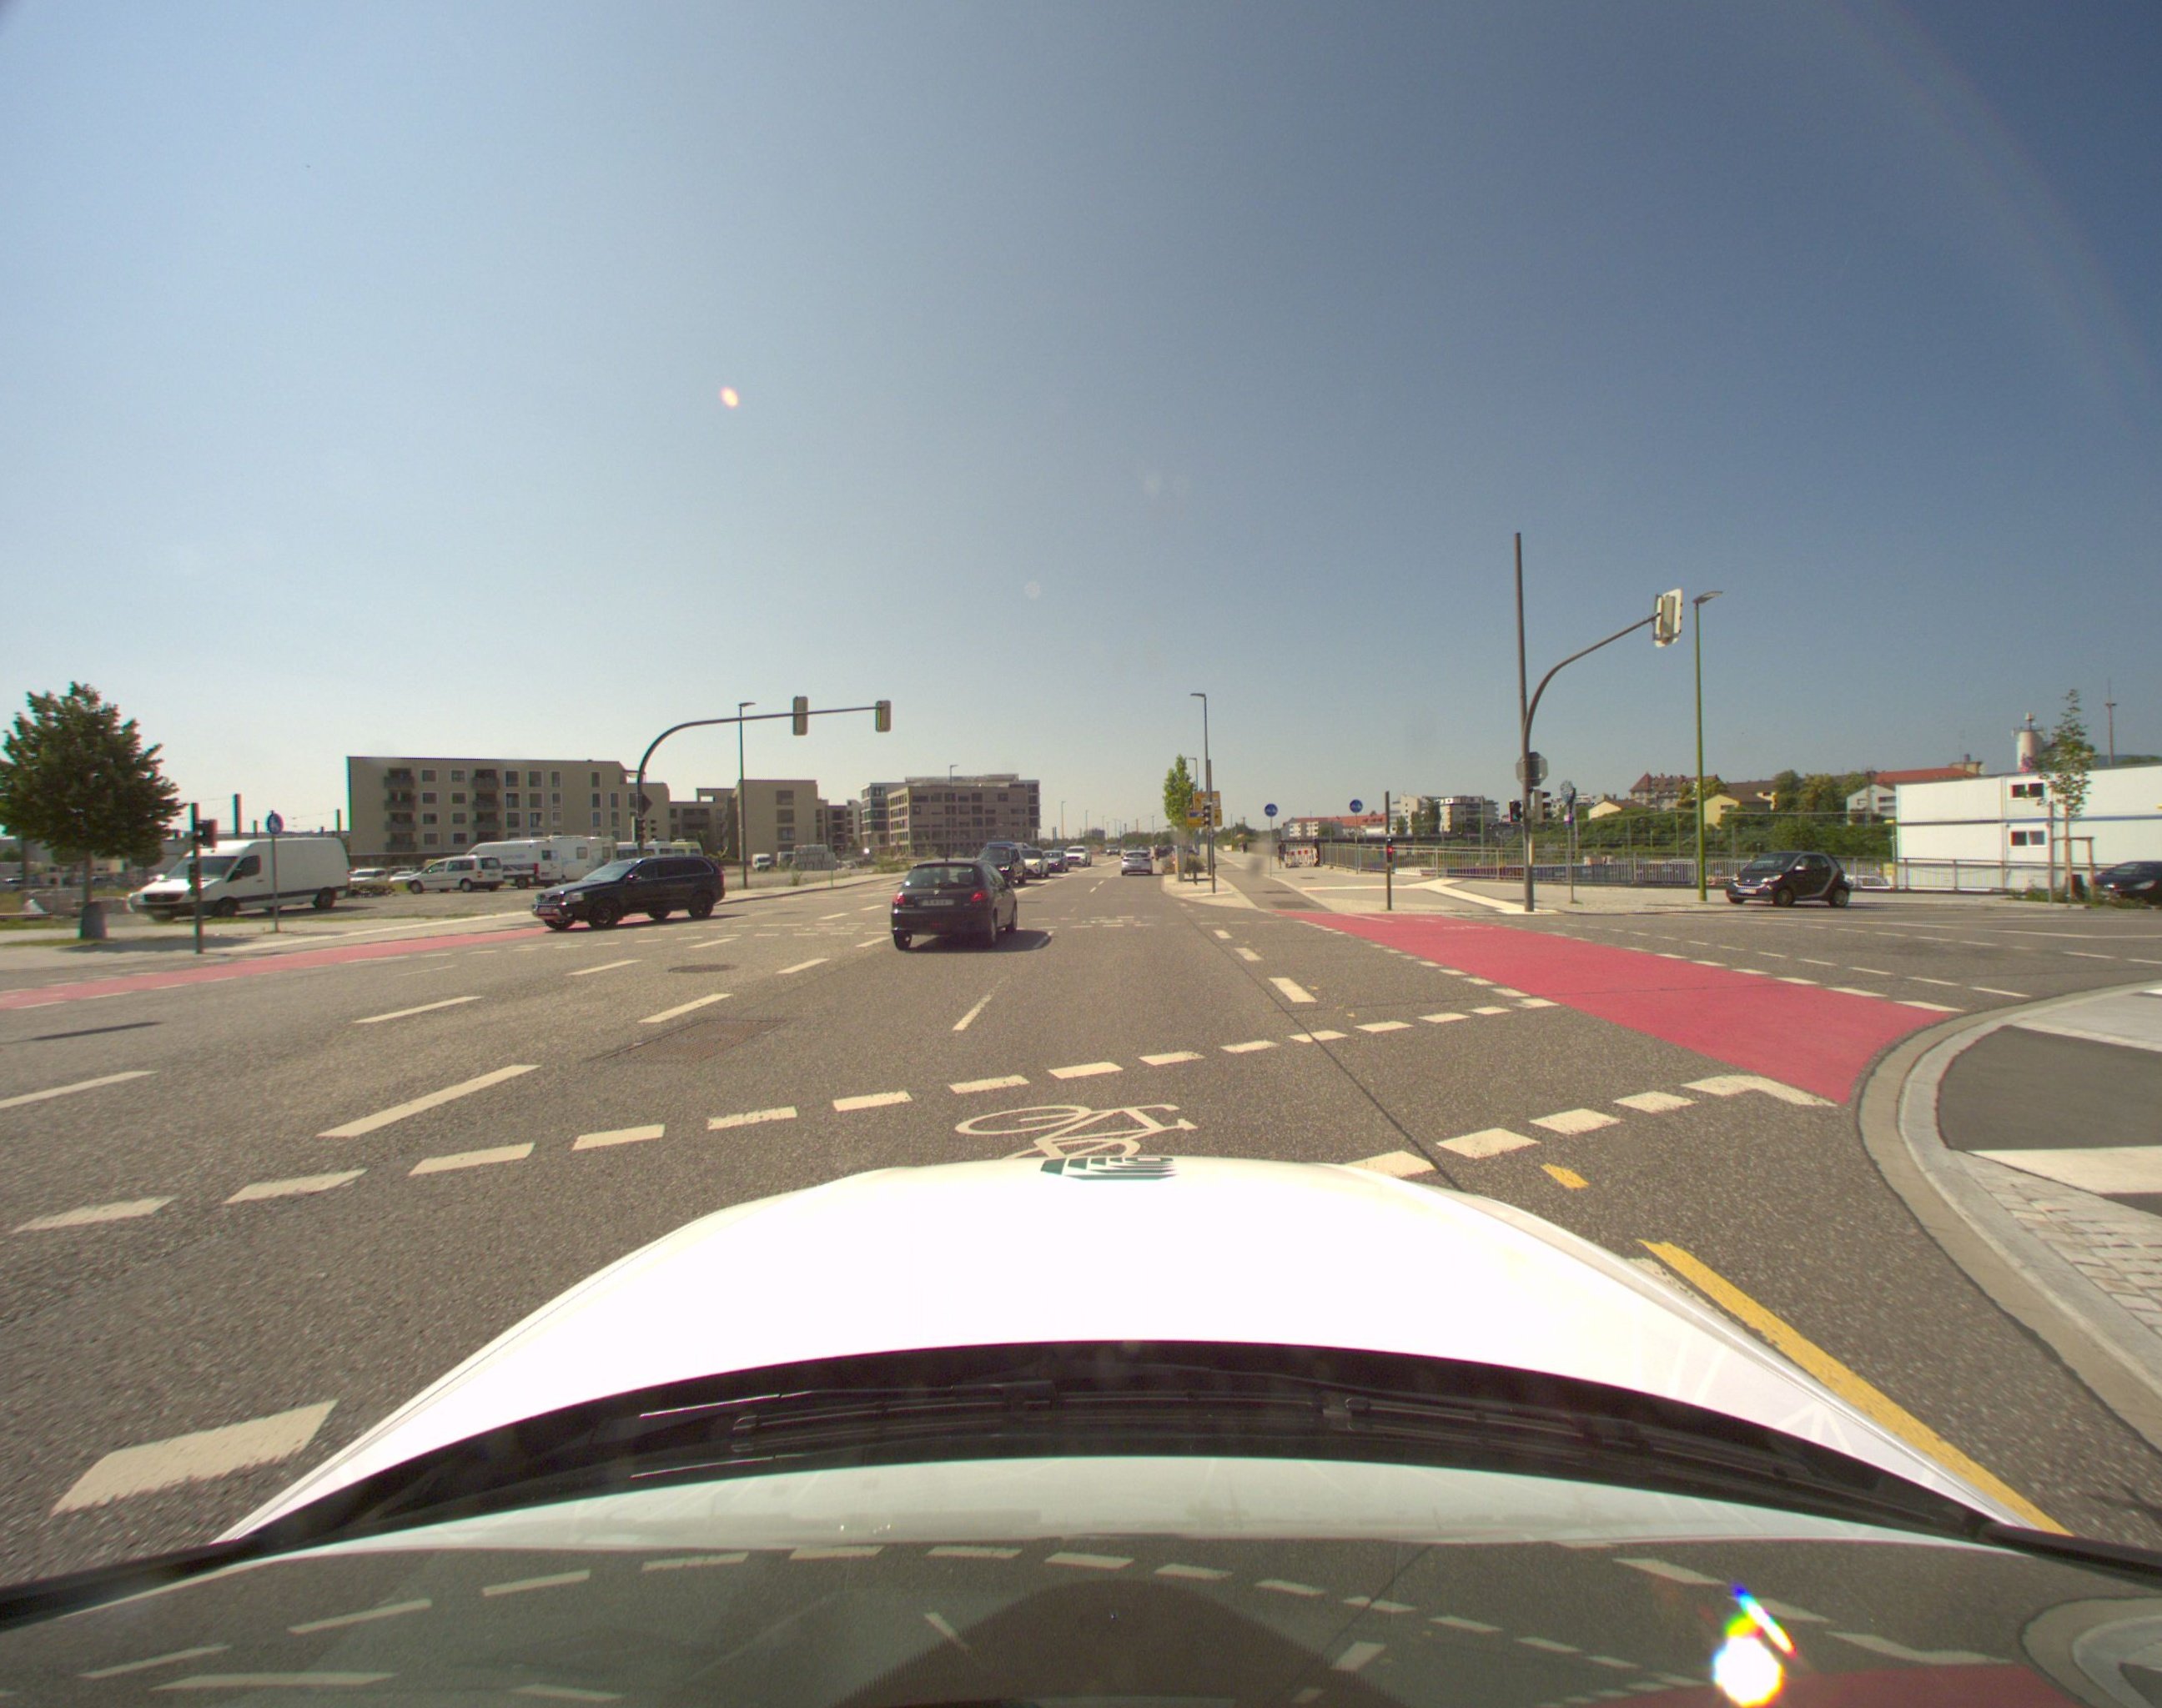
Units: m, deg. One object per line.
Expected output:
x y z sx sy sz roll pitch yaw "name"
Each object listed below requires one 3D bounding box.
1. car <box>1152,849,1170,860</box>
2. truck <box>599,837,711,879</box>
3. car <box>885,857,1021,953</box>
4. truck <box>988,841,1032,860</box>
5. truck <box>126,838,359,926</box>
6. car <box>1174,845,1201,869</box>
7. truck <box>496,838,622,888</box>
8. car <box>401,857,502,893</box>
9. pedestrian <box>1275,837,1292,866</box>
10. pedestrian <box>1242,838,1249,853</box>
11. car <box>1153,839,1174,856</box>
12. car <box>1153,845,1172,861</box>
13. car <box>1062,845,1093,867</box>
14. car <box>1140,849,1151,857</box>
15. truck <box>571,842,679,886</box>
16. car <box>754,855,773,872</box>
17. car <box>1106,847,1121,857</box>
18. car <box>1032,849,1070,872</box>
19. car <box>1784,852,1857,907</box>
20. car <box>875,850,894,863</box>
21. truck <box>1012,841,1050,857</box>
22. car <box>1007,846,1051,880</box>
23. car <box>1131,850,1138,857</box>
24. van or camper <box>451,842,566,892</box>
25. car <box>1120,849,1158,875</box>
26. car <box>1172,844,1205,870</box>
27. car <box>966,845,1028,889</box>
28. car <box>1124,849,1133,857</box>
9.519 0.045 97.066 1.627 1.310 3.998 0 -1 -1 "car"
-30.068 0.283 57.591 6.599 2.825 2.608 0 0 7 "truck"
-2.088 0.781 14.255 1.613 1.416 3.729 -1 0 2 "car"
-10.380 -0.451 119.463 5.974 2.543 2.279 -2 0 6 "truck"
-28.621 0.878 28.233 2.162 2.655 5.936 -2 0 -4 "truck"
7.658 0.180 58.759 1.862 1.627 4.886 -1 0 7 "car"
-31.456 0.525 49.160 6.110 2.901 2.576 0 -1 8 "truck"
-31.803 1.050 41.205 3.849 1.758 1.659 -1 1 3 "car"
11.634 -0.134 46.719 0.746 1.609 0.951 -4 0 7 "pedestrian"
18.816 -0.991 93.298 0.727 1.705 0.652 0 -1 8 "pedestrian"
8.462 -0.649 84.163 1.787 1.750 4.001 -1 0 1 "car"
8.393 -0.076 83.694 1.767 1.569 4.010 0 -1 9 "car"
-0.227 0.155 66.281 1.902 1.650 4.741 -1 0 8 "car"
12.373 -0.164 156.480 1.777 1.398 4.583 -1 0 9 "car"
-30.136 0.633 53.963 5.802 2.825 2.576 0 -1 8 "truck"
-43.619 1.308 111.852 2.005 2.240 3.964 -1 1 -28 "car"
5.007 -0.310 124.878 1.883 1.415 3.605 0 -1 7 "car"
-1.958 0.431 53.912 1.776 1.421 4.291 -1 0 8 "car"
21.188 0.698 23.337 1.440 1.464 3.388 -1 -1 43 "car"
-27.815 0.331 115.236 2.001 1.848 3.971 -1 1 -22 "car"
-7.706 -0.781 126.688 5.539 2.362 2.279 -2 0 6 "truck"
-2.808 0.439 44.950 1.770 1.682 4.105 -2 1 5 "car"
11.710 -0.073 177.787 1.572 1.563 3.677 0 -1 4 "car"
-31.491 0.676 44.876 4.873 2.661 2.264 0 1 7 "van or camper"
3.422 0.461 47.795 1.767 1.442 4.011 -1 0 10 "car"
6.854 0.185 51.865 1.983 1.519 4.008 -1 0 7 "car"
-3.707 0.526 36.744 1.930 1.788 4.662 0 1 5 "car"
9.124 -0.223 156.332 1.786 1.416 4.004 0 -1 4 "car"
